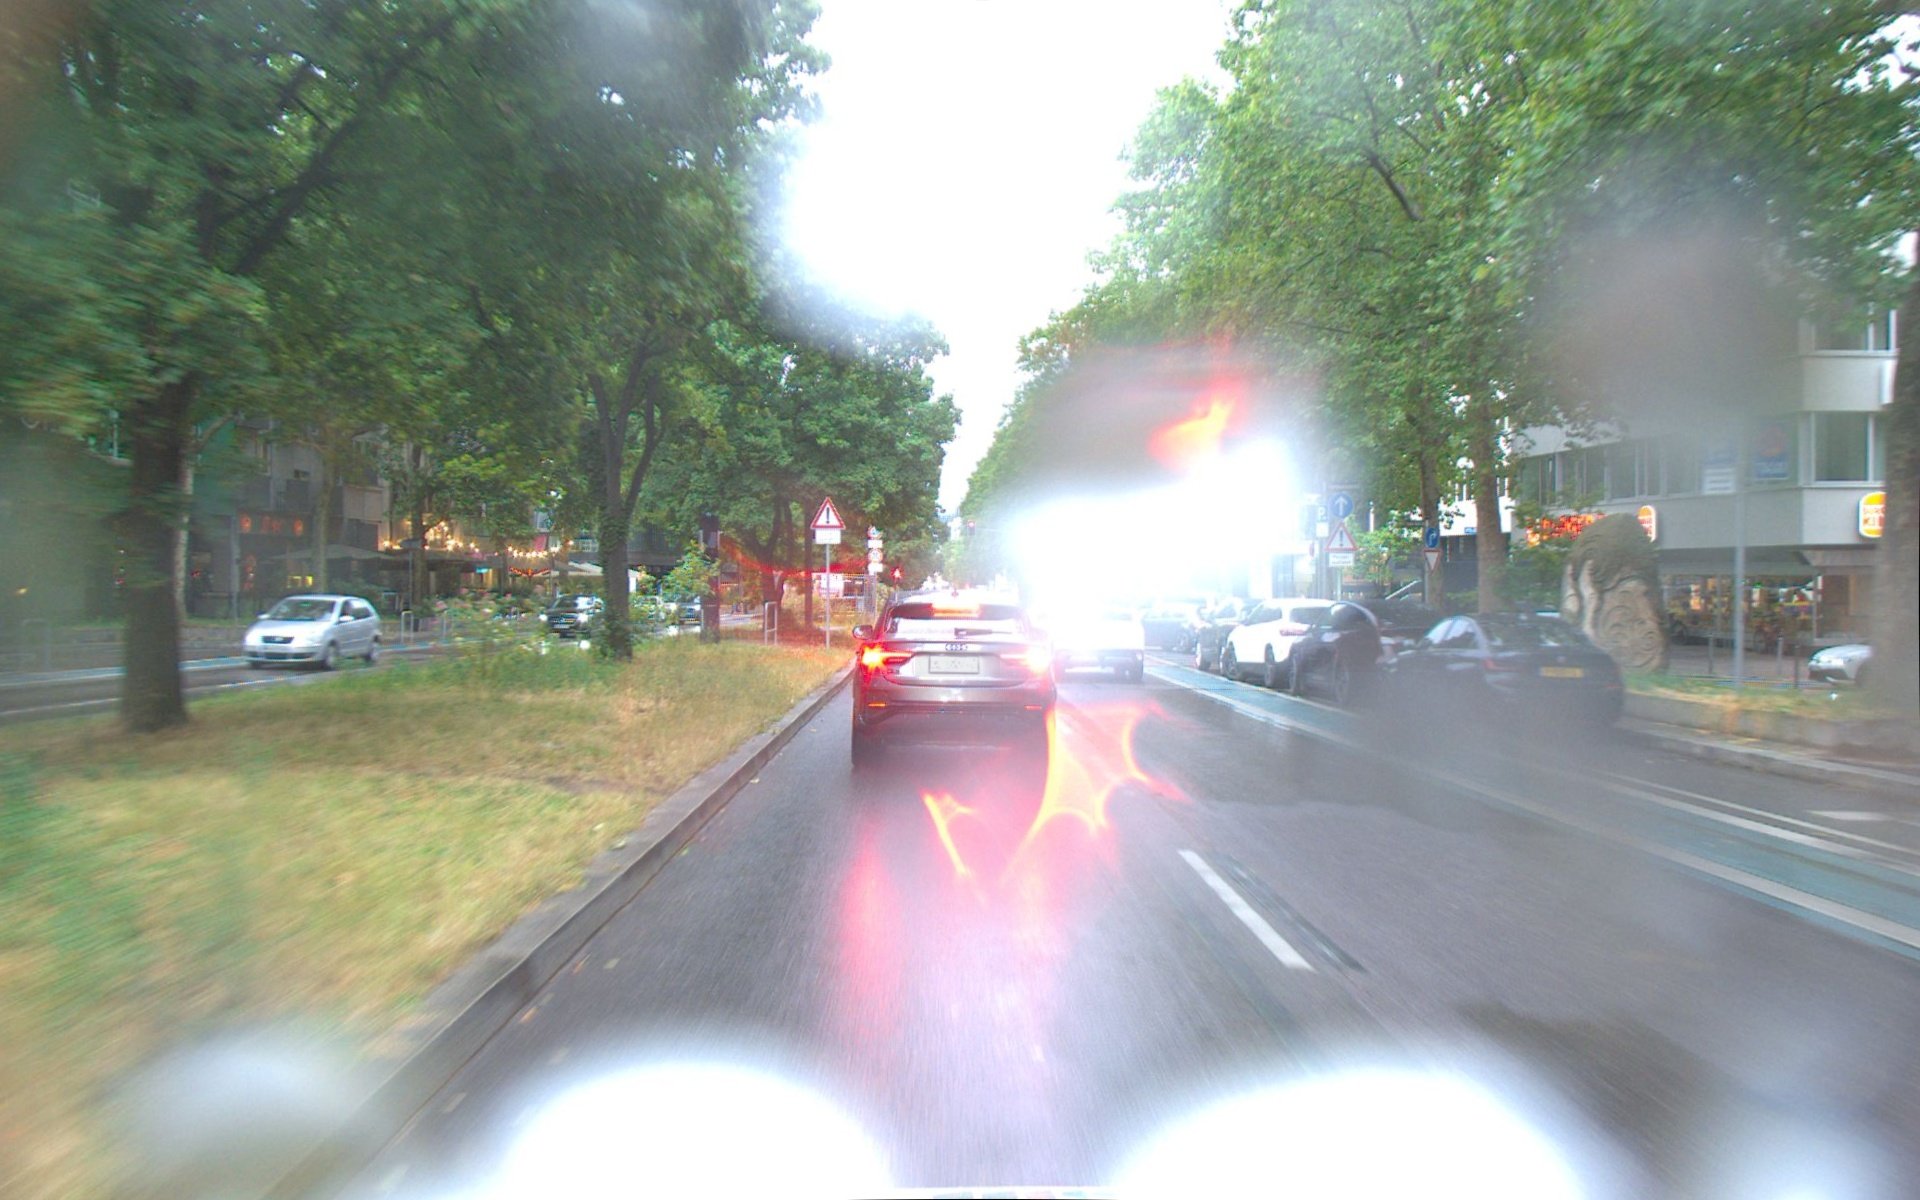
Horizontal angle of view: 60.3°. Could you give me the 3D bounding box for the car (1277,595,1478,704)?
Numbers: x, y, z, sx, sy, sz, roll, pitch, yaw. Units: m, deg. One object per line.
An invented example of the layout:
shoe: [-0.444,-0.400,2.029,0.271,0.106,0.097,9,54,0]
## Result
car: [6.548,0.743,26.444,1.830,1.547,4.556,2,-1,-3]

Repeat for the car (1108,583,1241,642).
car: [7.961,0.465,61.650,4.517,2.049,1.960,1,-1,37]

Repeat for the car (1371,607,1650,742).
car: [6.688,0.836,20.657,1.835,1.446,4.610,2,0,-1]

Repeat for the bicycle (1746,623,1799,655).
bicycle: [22.649,1.069,46.128,0.439,0.851,2.026,2,-1,-1]

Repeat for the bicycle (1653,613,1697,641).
bicycle: [22.364,0.833,51.769,0.439,0.851,2.026,2,-1,-1]

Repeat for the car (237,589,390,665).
car: [-13.129,0.536,33.804,1.615,1.460,3.812,0,-1,0]

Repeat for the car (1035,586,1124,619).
car: [6.710,0.134,92.767,4.548,1.736,1.998,2,-1,27]

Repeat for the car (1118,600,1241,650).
car: [6.559,0.733,49.718,1.544,1.402,3.825,2,-1,-33]

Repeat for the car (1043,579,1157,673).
car: [2.745,0.509,33.331,1.840,1.727,3.999,2,-1,-1]

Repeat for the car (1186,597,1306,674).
car: [6.204,0.752,36.273,1.662,1.550,4.020,2,-1,-4]

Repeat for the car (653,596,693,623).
car: [-17.352,0.603,100.197,1.691,1.545,3.999,2,-1,-1]

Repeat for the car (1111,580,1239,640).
car: [8.803,0.420,67.883,4.787,2.293,1.997,2,-1,28]

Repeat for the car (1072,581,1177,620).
car: [7.846,0.023,78.756,4.548,1.736,1.998,2,-1,27]

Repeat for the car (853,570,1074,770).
car: [-0.037,0.580,15.727,1.812,1.630,3.998,1,0,-2]

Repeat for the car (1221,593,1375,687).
car: [6.264,0.711,31.071,1.694,1.599,4.069,2,-1,-5]

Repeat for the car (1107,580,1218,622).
car: [9.153,0.028,74.755,4.548,1.736,1.998,2,-1,27]

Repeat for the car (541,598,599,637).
car: [-13.508,0.593,57.416,1.658,1.280,3.637,2,-1,-9]

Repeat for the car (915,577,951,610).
car: [-1.582,-0.348,94.710,1.953,1.757,3.998,2,-1,-2]

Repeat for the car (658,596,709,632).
car: [-14.029,0.711,84.157,1.724,1.733,4.333,2,-1,1]

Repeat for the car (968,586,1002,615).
car: [1.518,0.065,103.150,1.953,1.680,3.999,2,-1,-1]

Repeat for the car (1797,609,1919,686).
car: [20.972,1.072,36.430,4.155,1.594,2.056,2,-1,16]
